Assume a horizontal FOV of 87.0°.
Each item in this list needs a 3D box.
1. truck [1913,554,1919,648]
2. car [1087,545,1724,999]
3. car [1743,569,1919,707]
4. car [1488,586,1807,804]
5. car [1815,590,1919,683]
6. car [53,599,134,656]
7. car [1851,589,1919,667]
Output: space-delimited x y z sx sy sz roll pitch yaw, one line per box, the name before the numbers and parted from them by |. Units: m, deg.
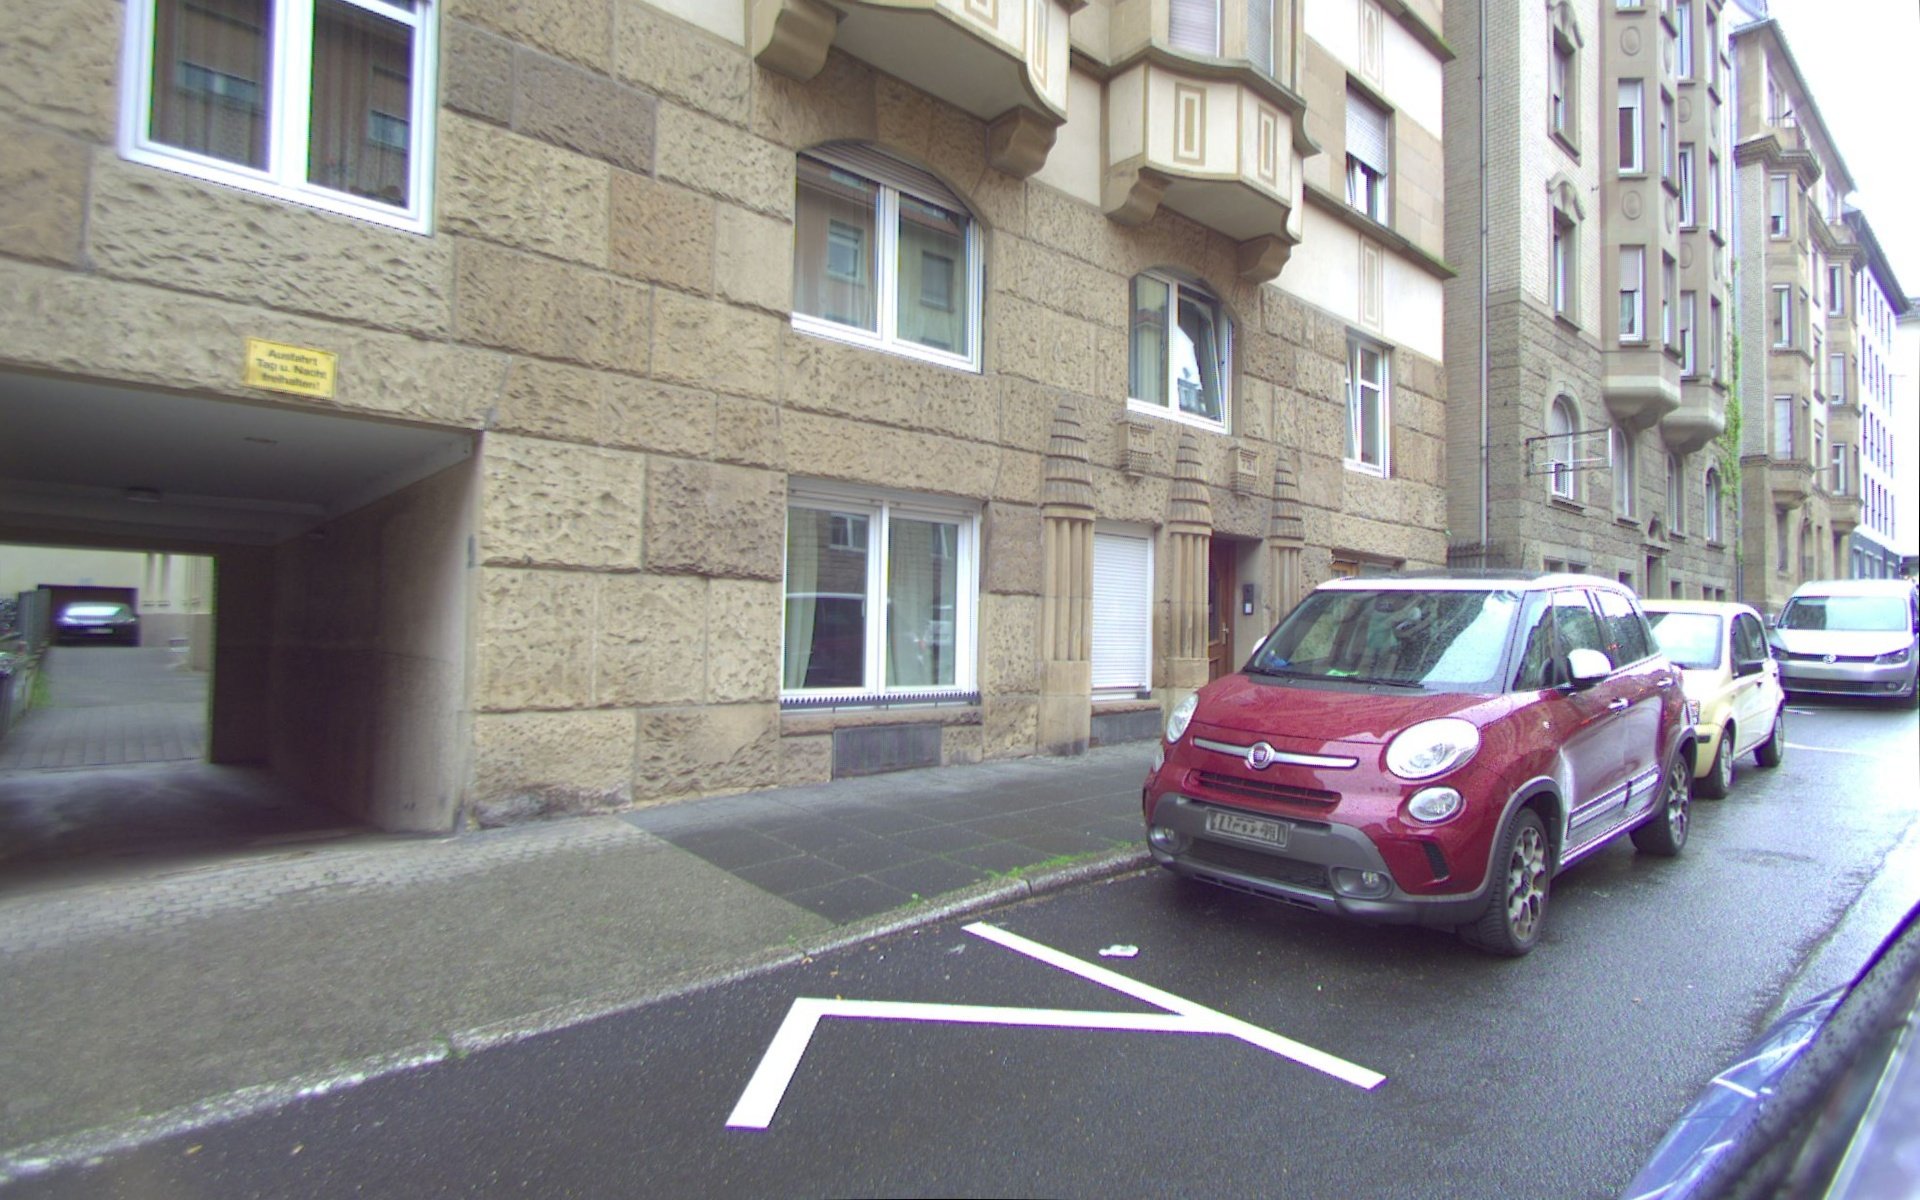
truck | 29.161 0.025 28.875 6.036 2.568 2.233 0 -1 -41
car | 2.679 0.616 5.624 3.932 1.619 1.804 0 -1 -42
car | 13.762 0.503 15.504 4.381 1.825 1.966 0 -1 -41
car | 6.199 0.679 8.986 3.517 1.549 1.578 0 -1 -43
car | 17.170 0.603 18.496 3.934 1.549 1.994 0 -1 -45
car | -25.187 0.758 29.447 1.692 1.541 4.098 0 -1 -41
car | 20.476 0.550 21.436 3.860 1.549 1.889 0 -1 -41
